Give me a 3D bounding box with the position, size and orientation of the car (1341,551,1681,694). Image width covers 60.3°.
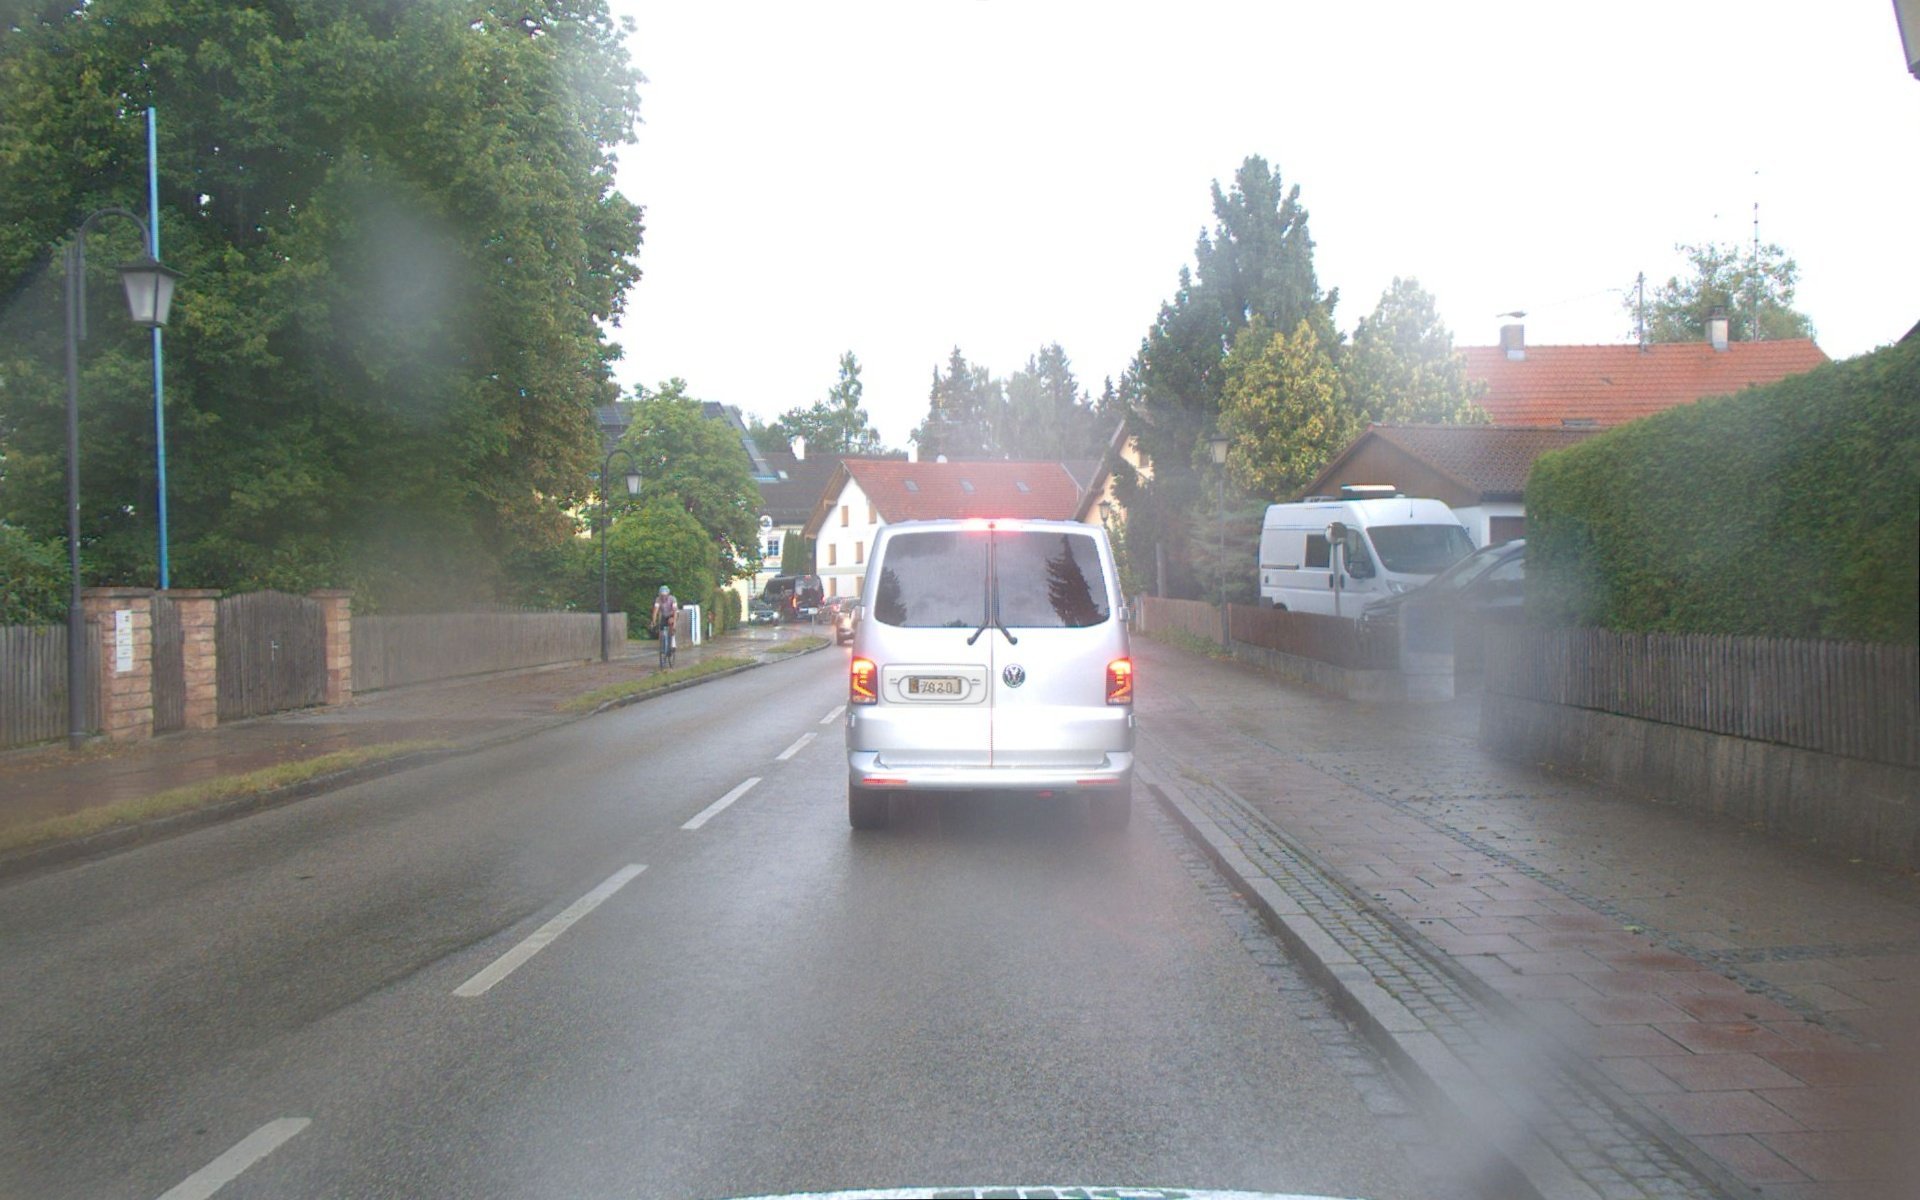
[{"bbox_3d":[7.351,0.262,22.285,4.012,1.782,1.694,-1,2,-4],"label":"car"}]

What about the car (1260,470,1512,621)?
[{"bbox_3d":[6.862,-0.796,27.276,1.959,2.211,4.936,1,-1,-13],"label":"car"}]

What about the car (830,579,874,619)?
[{"bbox_3d":[-5.879,-0.032,89.374,1.957,2.049,3.991,1,-1,-10],"label":"car"}]

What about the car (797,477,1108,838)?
[{"bbox_3d":[0.044,0.354,11.582,1.763,2.049,4.001,1,-1,3],"label":"car"}]

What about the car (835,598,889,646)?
[{"bbox_3d":[-3.416,0.779,58.383,1.790,1.586,4.175,-1,-1,-2],"label":"car"}]

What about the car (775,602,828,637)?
[{"bbox_3d":[-9.206,1.105,96.051,1.966,1.961,3.972,2,-1,-22],"label":"car"}]

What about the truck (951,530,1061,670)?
[{"bbox_3d":[1.038,0.042,40.609,2.425,3.128,6.295,1,-1,0],"label":"truck"}]

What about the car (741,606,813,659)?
[{"bbox_3d":[-5.328,0.934,48.564,1.584,1.470,3.671,1,-1,2],"label":"car"}]

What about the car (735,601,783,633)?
[{"bbox_3d":[-11.255,0.941,92.356,1.962,1.733,3.981,1,-1,-17],"label":"car"}]

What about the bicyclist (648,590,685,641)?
[{"bbox_3d":[-6.037,0.312,34.075,0.575,1.039,1.060,0,0,0],"label":"bicyclist"}]

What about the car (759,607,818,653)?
[{"bbox_3d":[-5.766,1.008,56.052,1.585,1.470,3.670,1,-1,0],"label":"car"}]

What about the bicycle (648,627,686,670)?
[{"bbox_3d":[-6.039,0.990,34.176,0.447,0.812,1.977,0,0,0],"label":"bicycle"}]

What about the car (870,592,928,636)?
[{"bbox_3d":[-3.056,0.691,81.893,1.961,2.049,3.982,1,-1,-16],"label":"car"}]
